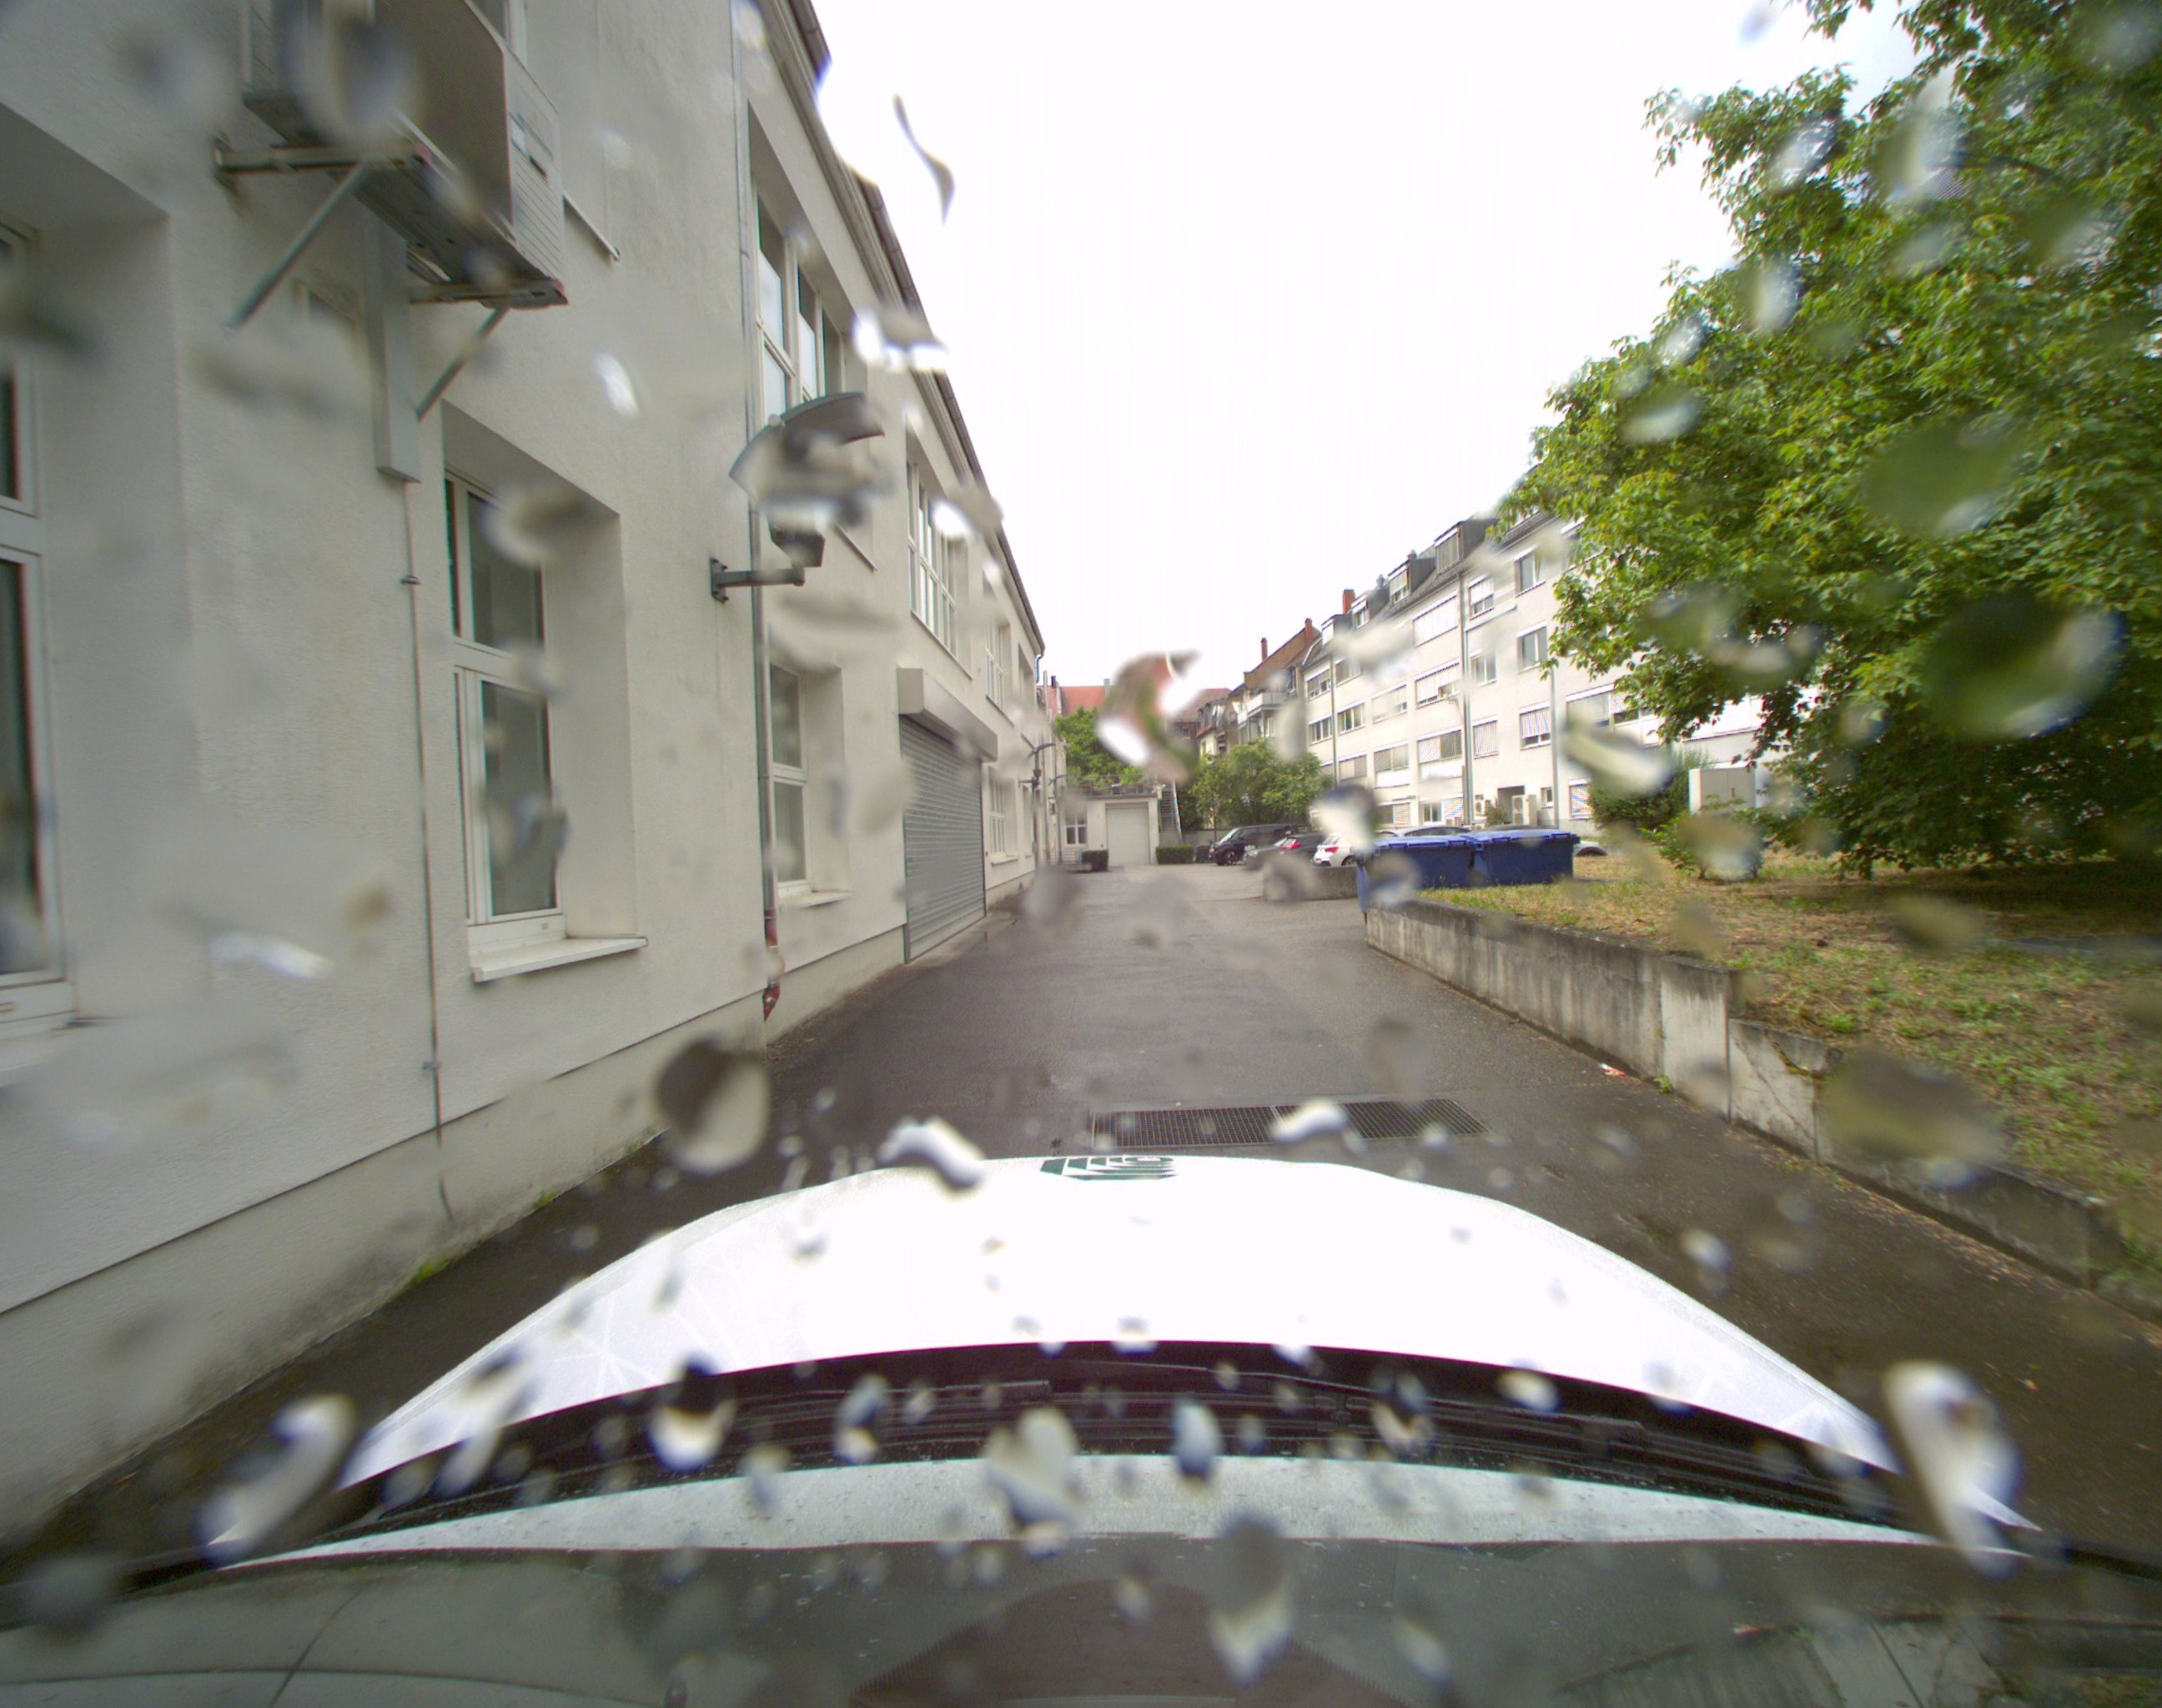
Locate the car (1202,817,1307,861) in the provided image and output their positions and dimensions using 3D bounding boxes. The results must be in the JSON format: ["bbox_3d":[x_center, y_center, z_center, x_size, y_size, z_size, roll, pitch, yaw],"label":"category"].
[{"bbox_3d":[8.656,-0.756,40.947,4.702,1.833,2.107,-4,1,-5],"label":"car"}]

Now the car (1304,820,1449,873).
[{"bbox_3d":[9.741,-0.268,27.008,4.088,1.455,1.832,-4,1,-3],"label":"car"}]

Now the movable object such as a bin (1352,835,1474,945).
[{"bbox_3d":[4.263,0.436,10.560,1.170,1.317,1.056,-1,2,1],"label":"movable object such as a bin"}]

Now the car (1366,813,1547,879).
[{"bbox_3d":[10.015,-0.211,21.906,4.069,1.458,1.667,-3,0,-2],"label":"car"}]

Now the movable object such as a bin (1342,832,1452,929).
[{"bbox_3d":[4.745,0.373,12.324,1.225,1.317,1.056,-3,2,1],"label":"movable object such as a bin"}]

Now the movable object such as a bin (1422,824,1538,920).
[{"bbox_3d":[5.993,0.247,12.306,1.225,1.317,1.056,-3,2,1],"label":"movable object such as a bin"}]

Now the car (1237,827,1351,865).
[{"bbox_3d":[9.128,-0.373,35.125,4.346,1.348,1.857,-3,2,-5],"label":"car"}]

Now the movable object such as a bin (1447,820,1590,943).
[{"bbox_3d":[5.601,0.311,10.510,1.270,1.483,1.102,-1,2,1],"label":"movable object such as a bin"}]

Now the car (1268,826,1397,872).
[{"bbox_3d":[9.357,-0.207,30.461,4.163,1.401,1.936,-4,1,-5],"label":"car"}]

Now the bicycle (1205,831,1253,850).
[{"bbox_3d":[9.136,-0.859,50.182,2.835,1.078,0.689,-1,2,-1],"label":"bicycle"}]

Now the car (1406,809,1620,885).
[{"bbox_3d":[9.890,-0.177,18.867,3.973,1.354,1.792,-5,1,1],"label":"car"}]
